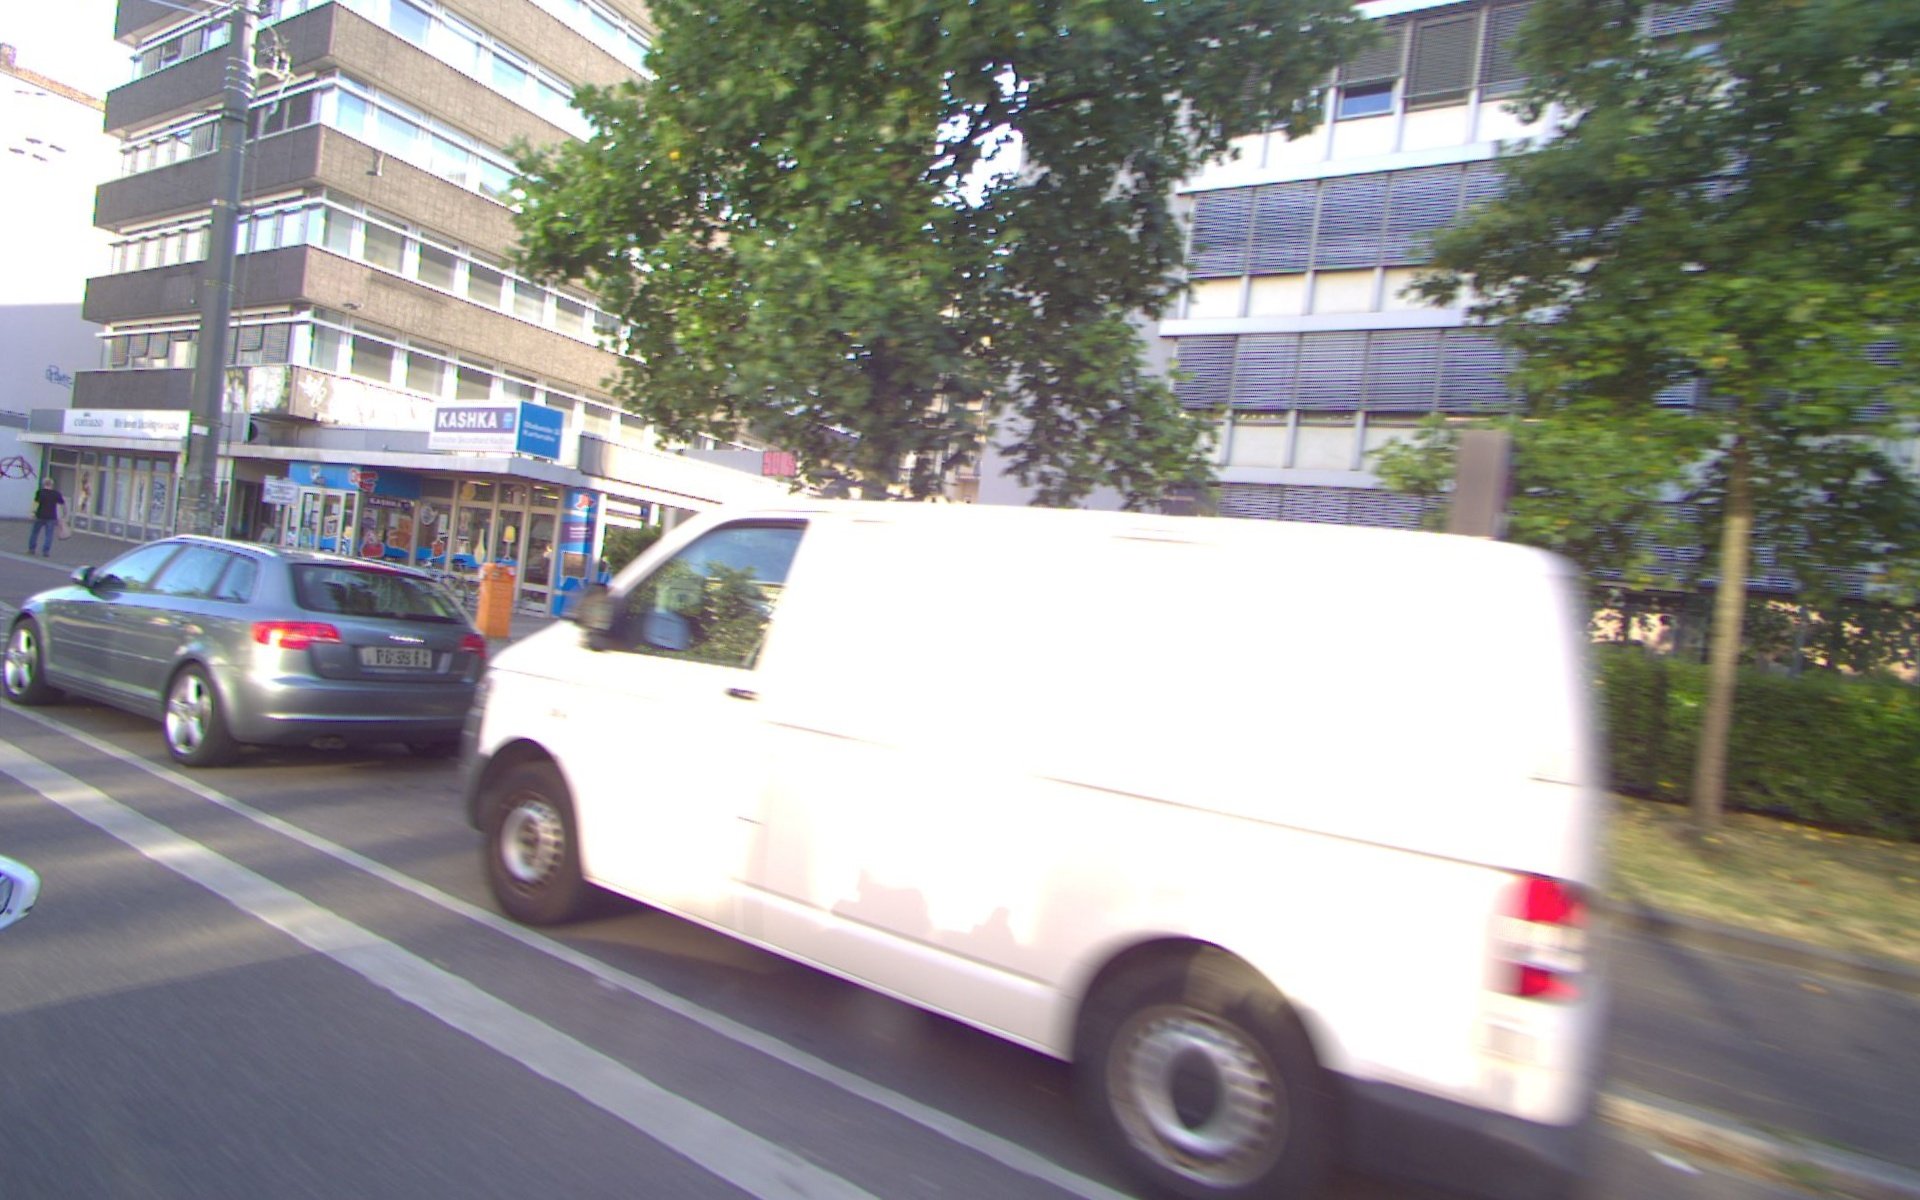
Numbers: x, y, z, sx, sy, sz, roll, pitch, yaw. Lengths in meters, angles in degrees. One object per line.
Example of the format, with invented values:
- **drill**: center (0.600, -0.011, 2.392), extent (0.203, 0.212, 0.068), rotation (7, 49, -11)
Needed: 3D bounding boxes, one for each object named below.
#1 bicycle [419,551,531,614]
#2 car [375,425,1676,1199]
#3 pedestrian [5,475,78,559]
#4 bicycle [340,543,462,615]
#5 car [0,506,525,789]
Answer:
- **bicycle**: center (-9.769, -0.328, 20.356), extent (0.626, 1.110, 2.018), rotation (7, 1, 24)
- **car**: center (-0.129, 0.525, 4.251), extent (4.824, 2.045, 1.880), rotation (7, -1, 32)
- **pedestrian**: center (-20.571, -1.847, 22.530), extent (1.016, 1.736, 0.900), rotation (7, 3, 31)
- **bicycle**: center (-10.018, -0.345, 18.108), extent (0.461, 1.109, 1.884), rotation (7, 0, 29)
- **car**: center (-5.336, 0.253, 7.438), extent (4.097, 1.421, 1.678), rotation (6, -2, 30)
